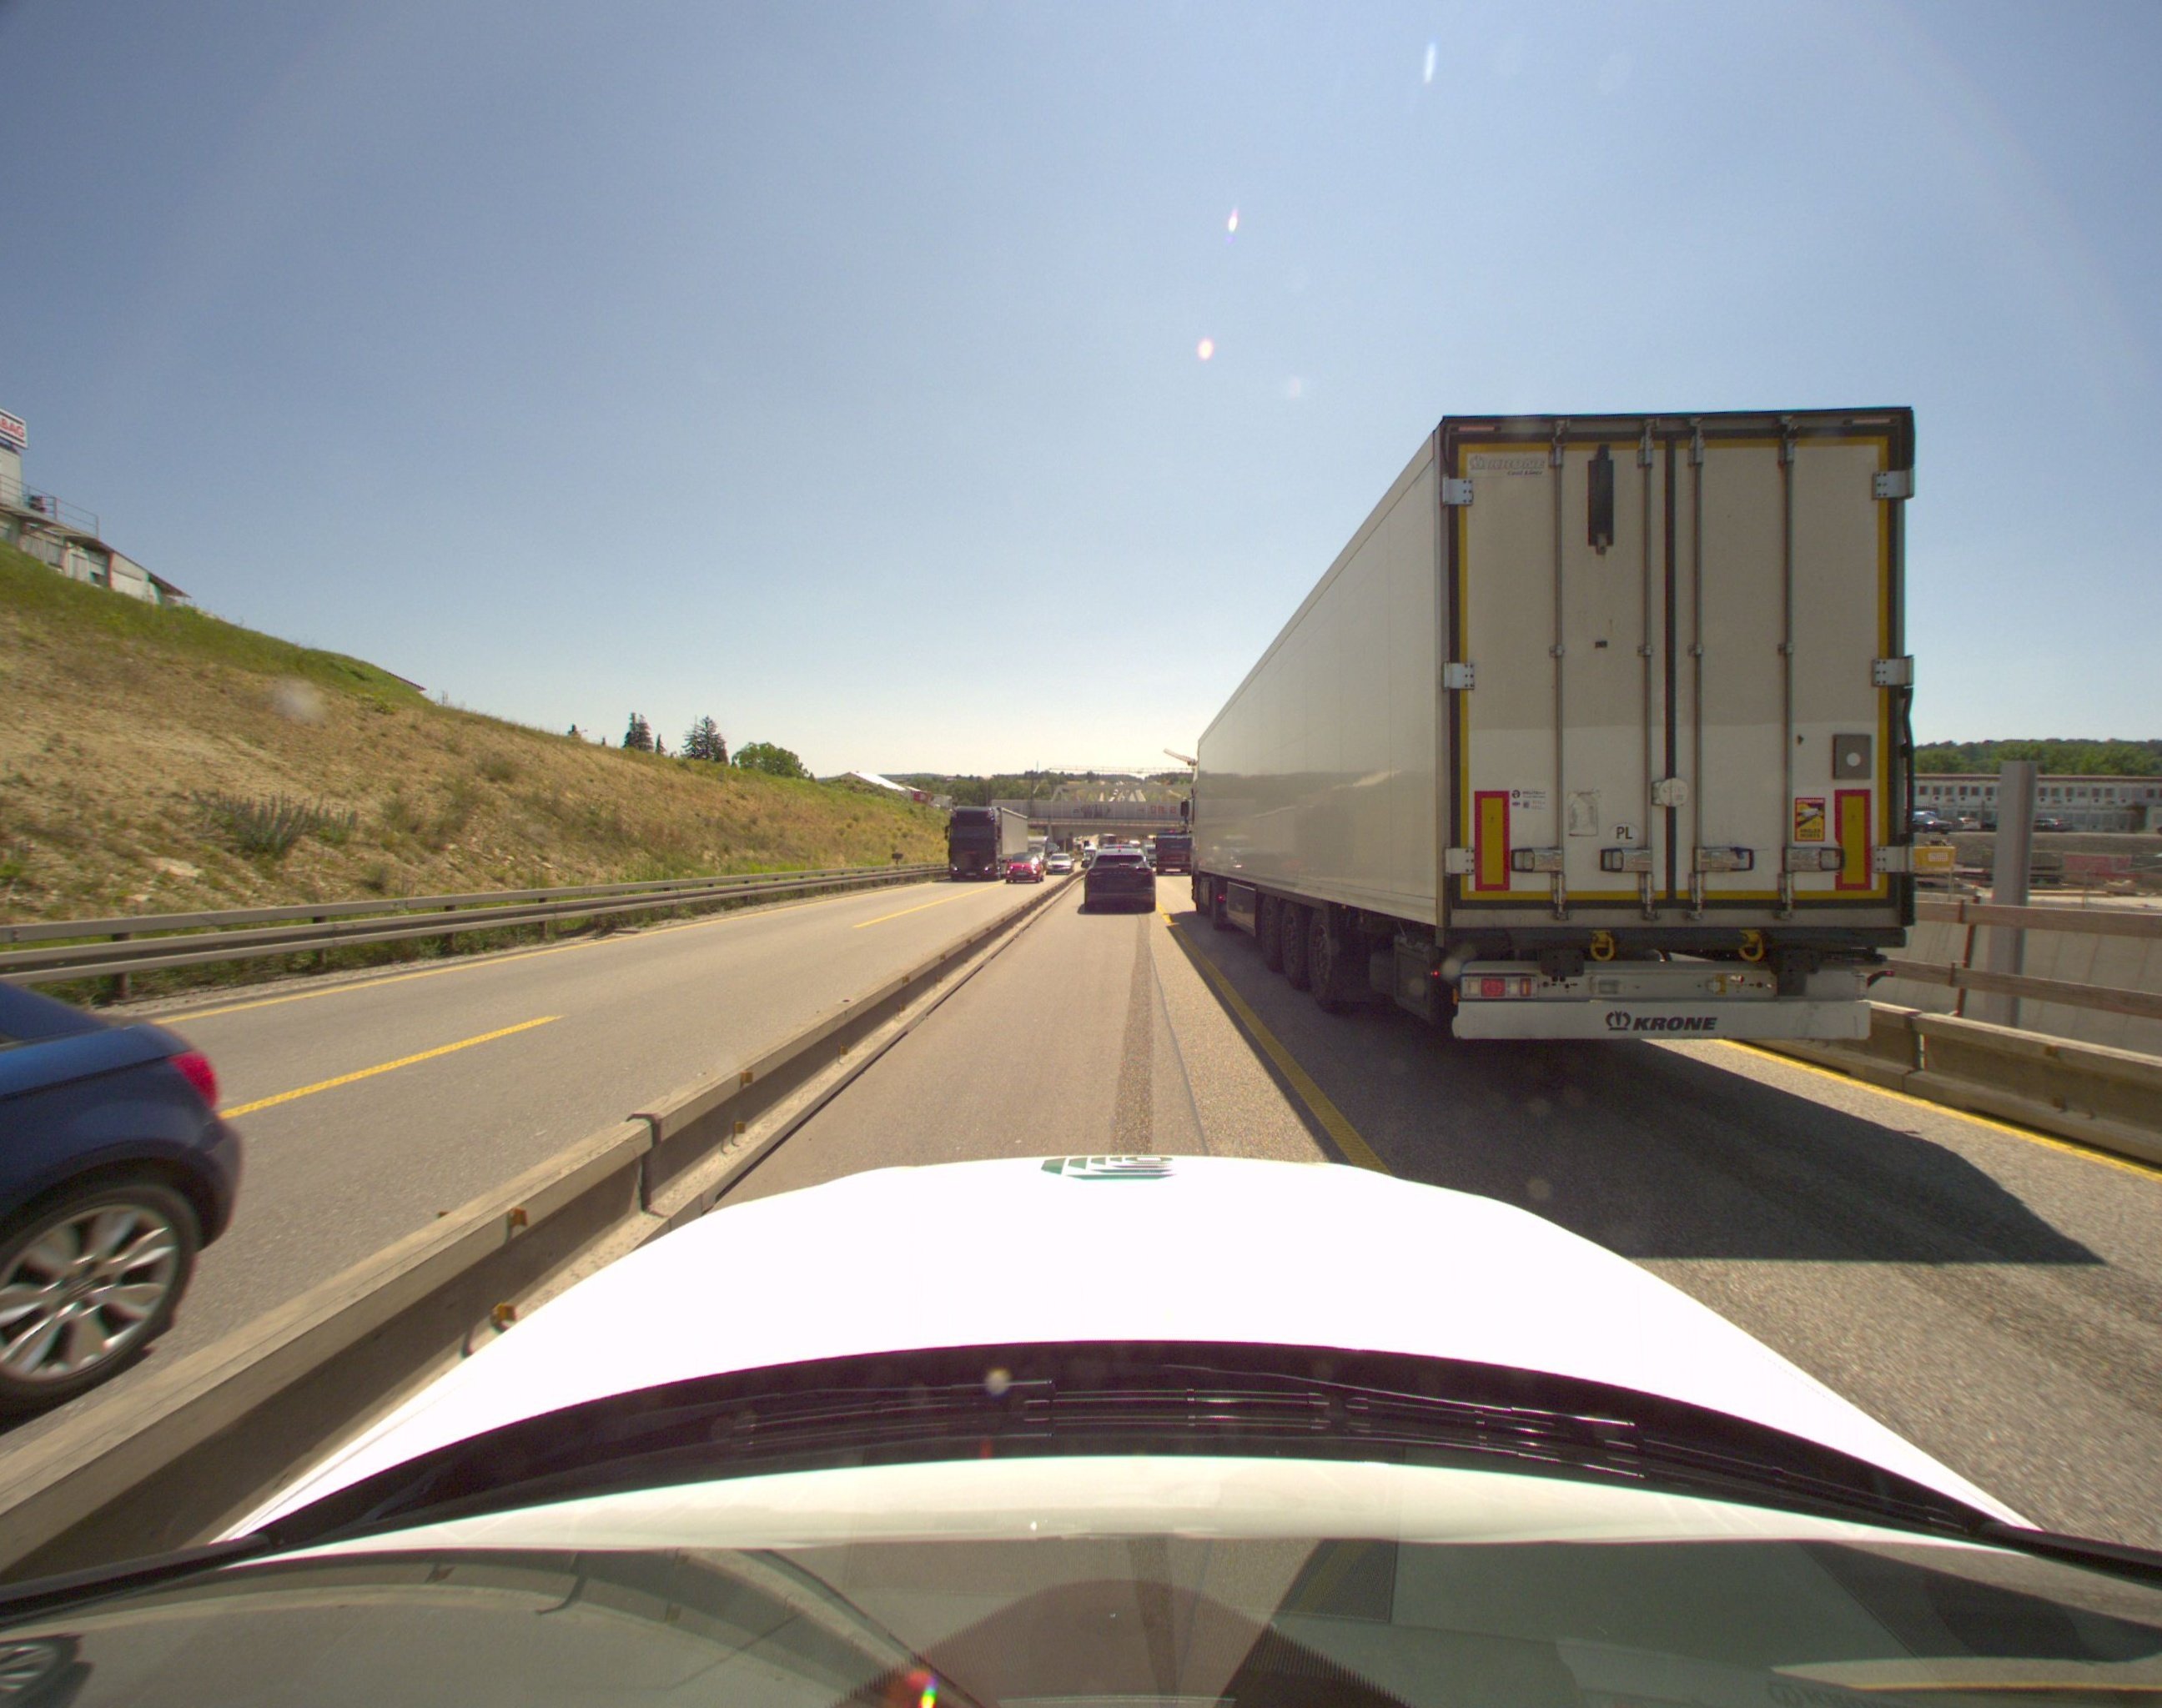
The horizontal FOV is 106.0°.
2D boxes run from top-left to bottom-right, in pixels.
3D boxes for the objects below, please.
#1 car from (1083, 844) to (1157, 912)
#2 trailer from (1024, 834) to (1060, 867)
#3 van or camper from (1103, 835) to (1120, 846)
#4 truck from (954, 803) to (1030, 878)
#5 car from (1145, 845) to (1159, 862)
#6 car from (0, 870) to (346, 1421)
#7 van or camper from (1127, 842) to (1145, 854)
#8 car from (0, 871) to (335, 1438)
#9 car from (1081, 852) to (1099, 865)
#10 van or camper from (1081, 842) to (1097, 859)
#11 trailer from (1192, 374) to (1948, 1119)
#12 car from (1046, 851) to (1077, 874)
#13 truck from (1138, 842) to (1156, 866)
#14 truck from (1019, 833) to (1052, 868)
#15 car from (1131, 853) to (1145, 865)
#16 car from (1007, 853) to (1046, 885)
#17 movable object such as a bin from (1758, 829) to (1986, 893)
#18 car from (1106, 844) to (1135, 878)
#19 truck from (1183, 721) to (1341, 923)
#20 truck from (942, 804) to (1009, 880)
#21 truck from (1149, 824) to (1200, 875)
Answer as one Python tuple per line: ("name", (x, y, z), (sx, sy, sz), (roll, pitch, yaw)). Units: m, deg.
("car", (1.014, 0.572, 21.415), (1.793, 1.620, 3.299), (-1, 0, 2))
("trailer", (-3.570, -0.329, 77.727), (2.259, 2.882, 13.051), (0, 0, 3))
("van or camper", (9.606, -4.324, 257.920), (3.941, 3.419, 8.383), (0, 1, -8))
("truck", (-5.295, -0.775, 51.523), (2.756, 4.087, 13.814), (0, 0, 2))
("car", (9.843, -0.058, 113.413), (1.655, 2.269, 3.797), (1, 0, 1))
("car", (-3.665, 0.781, 1.237), (1.683, 1.403, 3.687), (-1, 0, 1))
("van or camper", (15.060, -1.688, 223.294), (3.935, 3.419, 8.395), (0, 1, -4))
("car", (-3.642, 0.801, 1.084), (1.678, 1.430, 3.851), (-1, 0, 1))
("car", (0.987, 0.479, 88.851), (1.659, 1.428, 4.004), (-1, 0, 3))
("van or camper", (1.215, -0.547, 123.577), (2.206, 2.481, 4.756), (0, 0, 4))
("trailer", (3.624, -0.600, 11.525), (2.790, 4.058, 14.126), (0, 0, 3))
("car", (-1.309, 0.559, 56.302), (1.819, 1.486, 4.198), (-1, 0, 2))
("truck", (12.473, -0.074, 153.888), (3.162, 4.318, 9.265), (0, 0, 3))
("truck", (-3.889, -0.291, 70.607), (2.259, 2.882, 5.855), (0, 0, 2))
("car", (6.884, 0.620, 98.900), (1.486, 1.330, 3.245), (1, 0, 1))
("car", (-2.670, 0.689, 40.311), (1.584, 1.487, 3.297), (-1, 0, 2))
("movable object such as a bin", (39.829, 0.279, 41.696), (2.876, 2.909, 9.487), (0, 0, 3))
("car", (2.102, 0.353, 43.810), (1.469, 1.795, 3.299), (0, 0, 2))
("truck", (3.962, -0.653, 18.928), (2.765, 4.058, 4.908), (0, 0, 2))
("truck", (-5.594, -0.621, 44.014), (2.756, 3.884, 4.967), (0, 0, 2))
("truck", (6.402, -0.309, 57.490), (2.802, 3.135, 12.848), (0, 0, 3))
